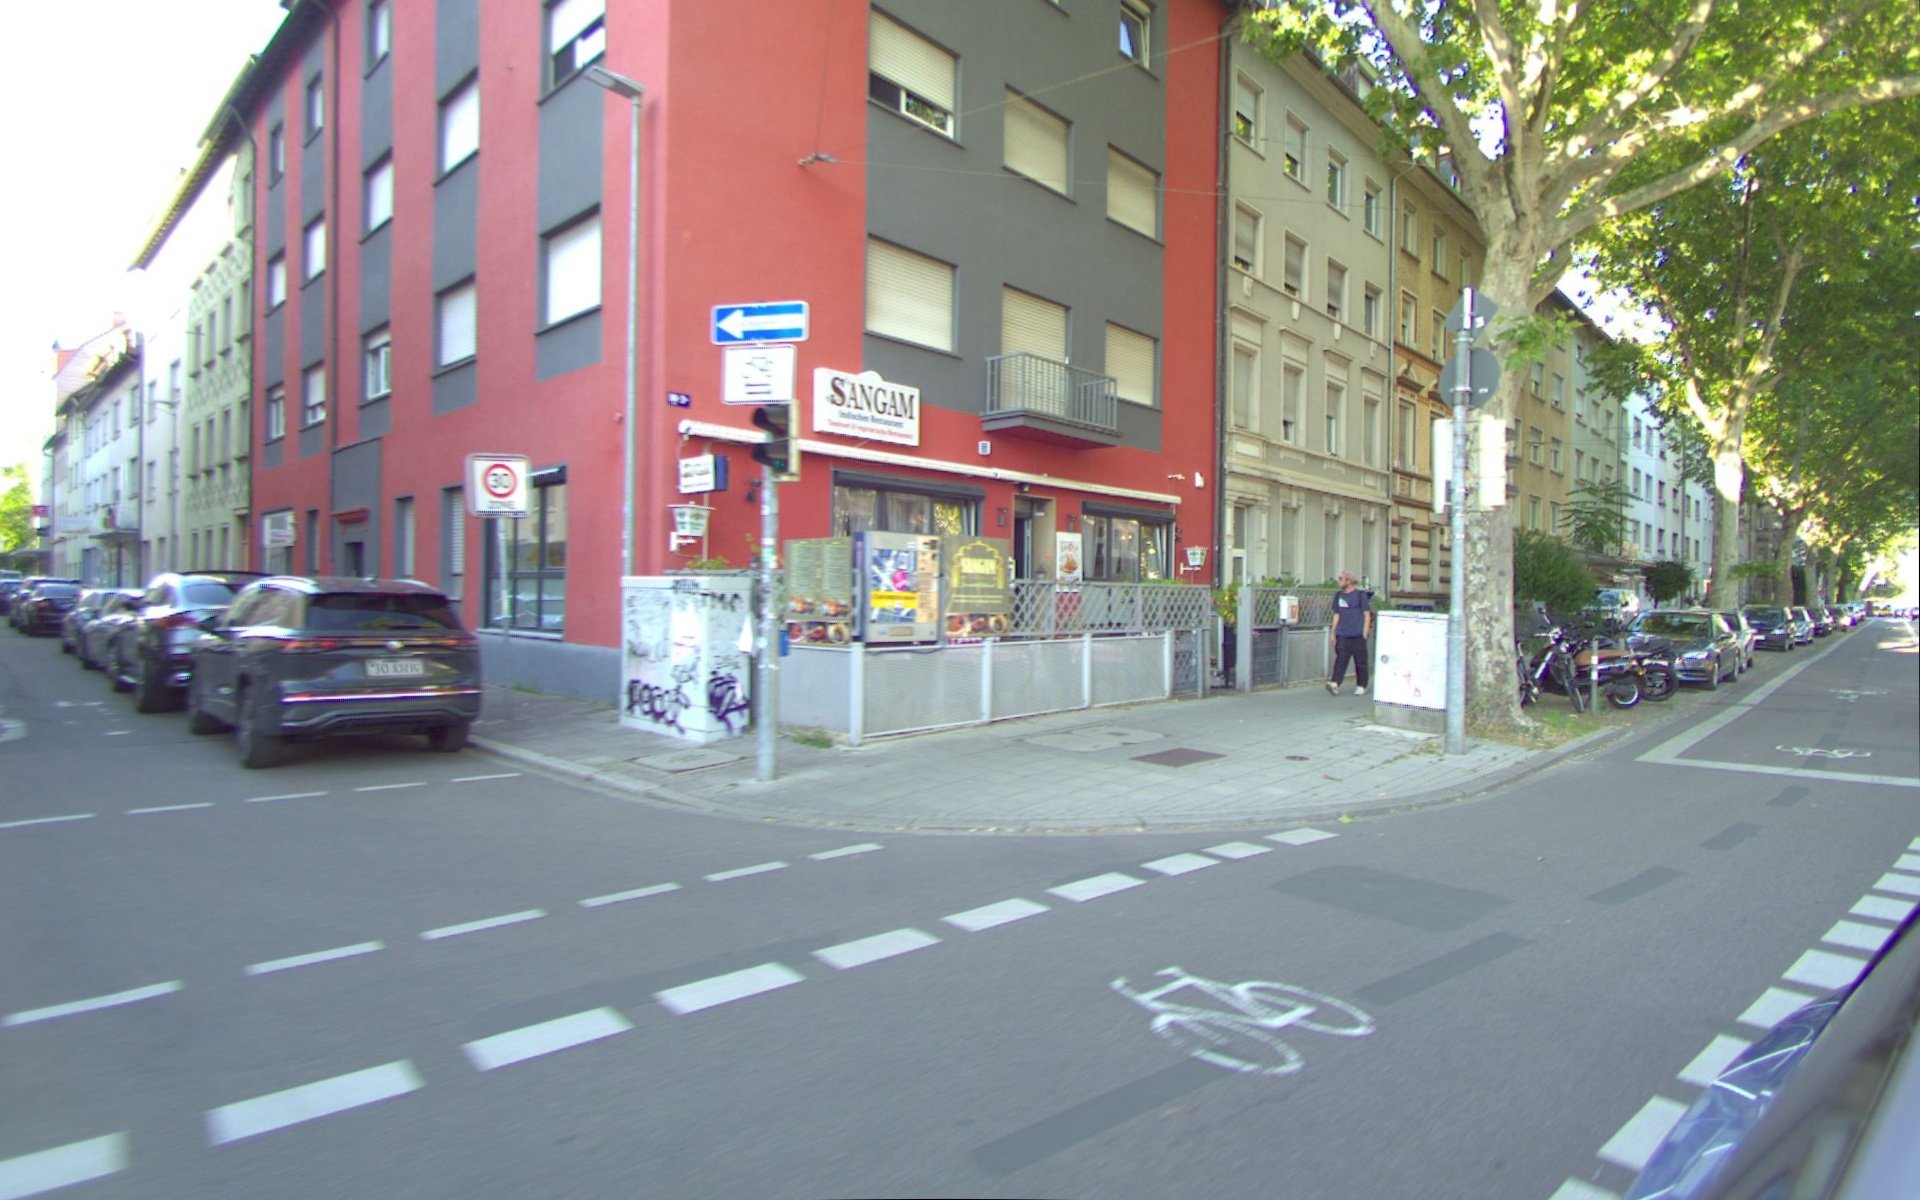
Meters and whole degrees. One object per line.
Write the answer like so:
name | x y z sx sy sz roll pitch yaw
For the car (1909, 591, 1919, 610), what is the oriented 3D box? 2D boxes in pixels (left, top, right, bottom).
car | 105.347 0.012 110.840 1.993 2.039 3.937 -2 -1 44

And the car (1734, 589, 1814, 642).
car | 28.274 0.492 35.110 1.798 1.628 4.302 4 3 43

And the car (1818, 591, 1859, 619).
car | 56.177 0.316 64.693 1.798 1.628 4.041 4 3 43

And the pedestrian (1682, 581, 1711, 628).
pedestrian | 25.355 0.145 34.829 0.726 1.600 0.691 1 1 44

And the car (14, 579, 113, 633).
car | -25.382 0.129 28.618 3.736 1.420 1.745 1 1 43

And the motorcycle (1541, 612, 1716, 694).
motorcycle | 10.624 0.819 16.173 2.184 1.125 0.660 3 0 18

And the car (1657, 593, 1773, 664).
car | 18.295 0.601 24.452 1.798 1.473 4.444 4 3 42

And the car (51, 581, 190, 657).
car | -17.557 0.338 21.099 3.841 1.420 1.745 1 1 43

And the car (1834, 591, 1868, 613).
car | 70.043 0.154 79.525 1.798 1.628 4.041 4 3 43

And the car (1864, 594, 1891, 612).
car | 86.765 0.248 95.733 1.798 1.627 3.645 4 3 43

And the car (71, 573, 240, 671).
car | -13.958 0.308 17.491 3.799 1.504 1.745 1 1 43

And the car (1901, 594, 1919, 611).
car | 117.475 0.259 124.777 1.994 2.039 3.936 -2 -1 44

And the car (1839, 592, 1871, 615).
car | 74.333 0.267 84.036 1.798 1.774 4.041 4 3 43

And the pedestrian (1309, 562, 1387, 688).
pedestrian | 5.604 0.332 14.621 0.727 1.731 0.803 4 3 44

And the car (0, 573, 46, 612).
car | -40.262 -0.332 43.021 3.736 1.581 1.745 1 1 43

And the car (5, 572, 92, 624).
car | -29.209 -0.099 32.407 3.736 1.581 1.745 1 1 43

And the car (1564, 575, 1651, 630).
car | 24.700 0.068 38.534 1.928 1.897 4.605 4 3 43

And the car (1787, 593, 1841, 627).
car | 42.574 0.468 50.419 1.798 1.521 4.302 4 3 43

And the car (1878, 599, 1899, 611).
car | 151.479 0.845 165.086 3.931 1.885 1.996 -1 -1 -41

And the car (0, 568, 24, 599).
car | -54.125 -0.951 57.008 3.736 1.710 1.745 1 1 43

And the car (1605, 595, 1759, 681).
car | 14.268 0.660 19.901 1.799 1.419 4.300 4 3 44

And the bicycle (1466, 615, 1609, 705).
bicycle | 7.807 0.810 13.679 1.762 1.125 0.622 3 0 -19

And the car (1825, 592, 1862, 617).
car | 61.563 0.303 70.490 1.798 1.628 4.041 4 3 43

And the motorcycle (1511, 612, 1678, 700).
motorcycle | 9.163 0.794 14.668 1.855 1.125 0.785 3 0 2

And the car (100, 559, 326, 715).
car | -10.197 0.383 13.665 4.602 1.762 1.744 1 1 44

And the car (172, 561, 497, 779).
car | -6.374 0.526 10.088 4.341 1.708 1.744 1 0 44

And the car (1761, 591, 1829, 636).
car | 33.469 0.503 40.540 1.798 1.628 4.302 4 3 43

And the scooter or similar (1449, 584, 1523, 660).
scooter or similar | 10.859 0.418 20.861 0.664 1.488 2.504 1 1 44
